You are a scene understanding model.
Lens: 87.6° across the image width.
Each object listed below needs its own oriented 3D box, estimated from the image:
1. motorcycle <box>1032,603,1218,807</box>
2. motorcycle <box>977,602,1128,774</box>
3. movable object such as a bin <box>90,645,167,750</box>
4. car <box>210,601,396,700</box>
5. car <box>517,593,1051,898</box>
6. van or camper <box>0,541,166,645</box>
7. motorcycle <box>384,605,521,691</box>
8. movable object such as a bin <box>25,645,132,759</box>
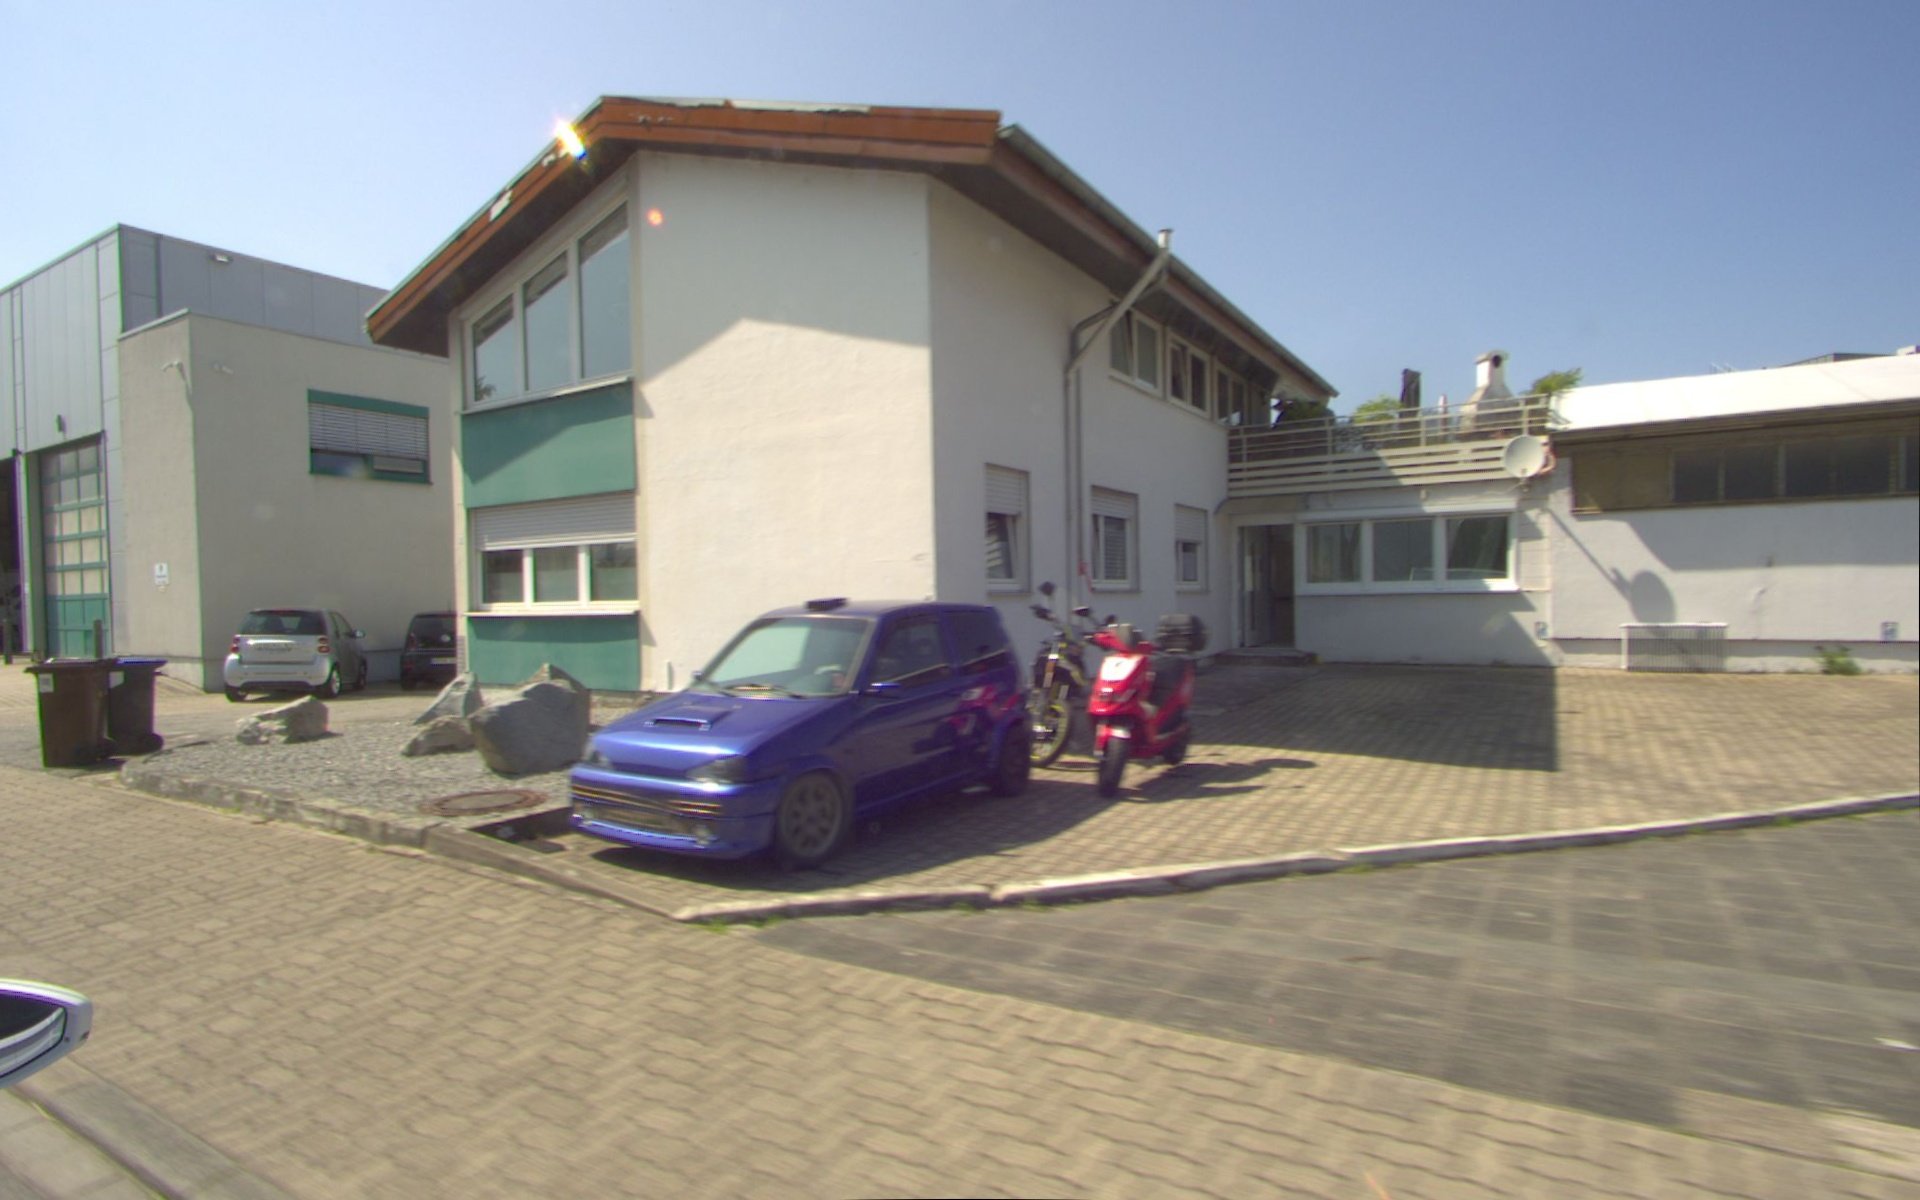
[{"bbox_3d":[1.314,0.703,7.619,0.784,1.297,1.866,-1,2,29],"label":"motorcycle"},{"bbox_3d":[0.859,0.695,8.757,0.783,1.297,1.749,-1,2,23],"label":"motorcycle"},{"bbox_3d":[-8.198,0.942,9.875,0.482,0.959,0.510,0,2,44],"label":"movable object such as a bin"},{"bbox_3d":[-11.813,0.820,18.285,1.747,1.560,3.696,-1,1,-16],"label":"car"},{"bbox_3d":[-0.894,0.681,6.488,1.649,1.417,3.245,-1,0,33],"label":"car"},{"bbox_3d":[-30.512,-0.220,34.302,1.969,3.332,4.750,0,0,29],"label":"van or camper"},{"bbox_3d":[-10.102,0.879,20.200,1.747,1.512,3.602,-1,1,-16],"label":"motorcycle"},{"bbox_3d":[-8.051,0.911,9.171,0.560,0.959,0.555,-2,1,-24],"label":"movable object such as a bin"}]
